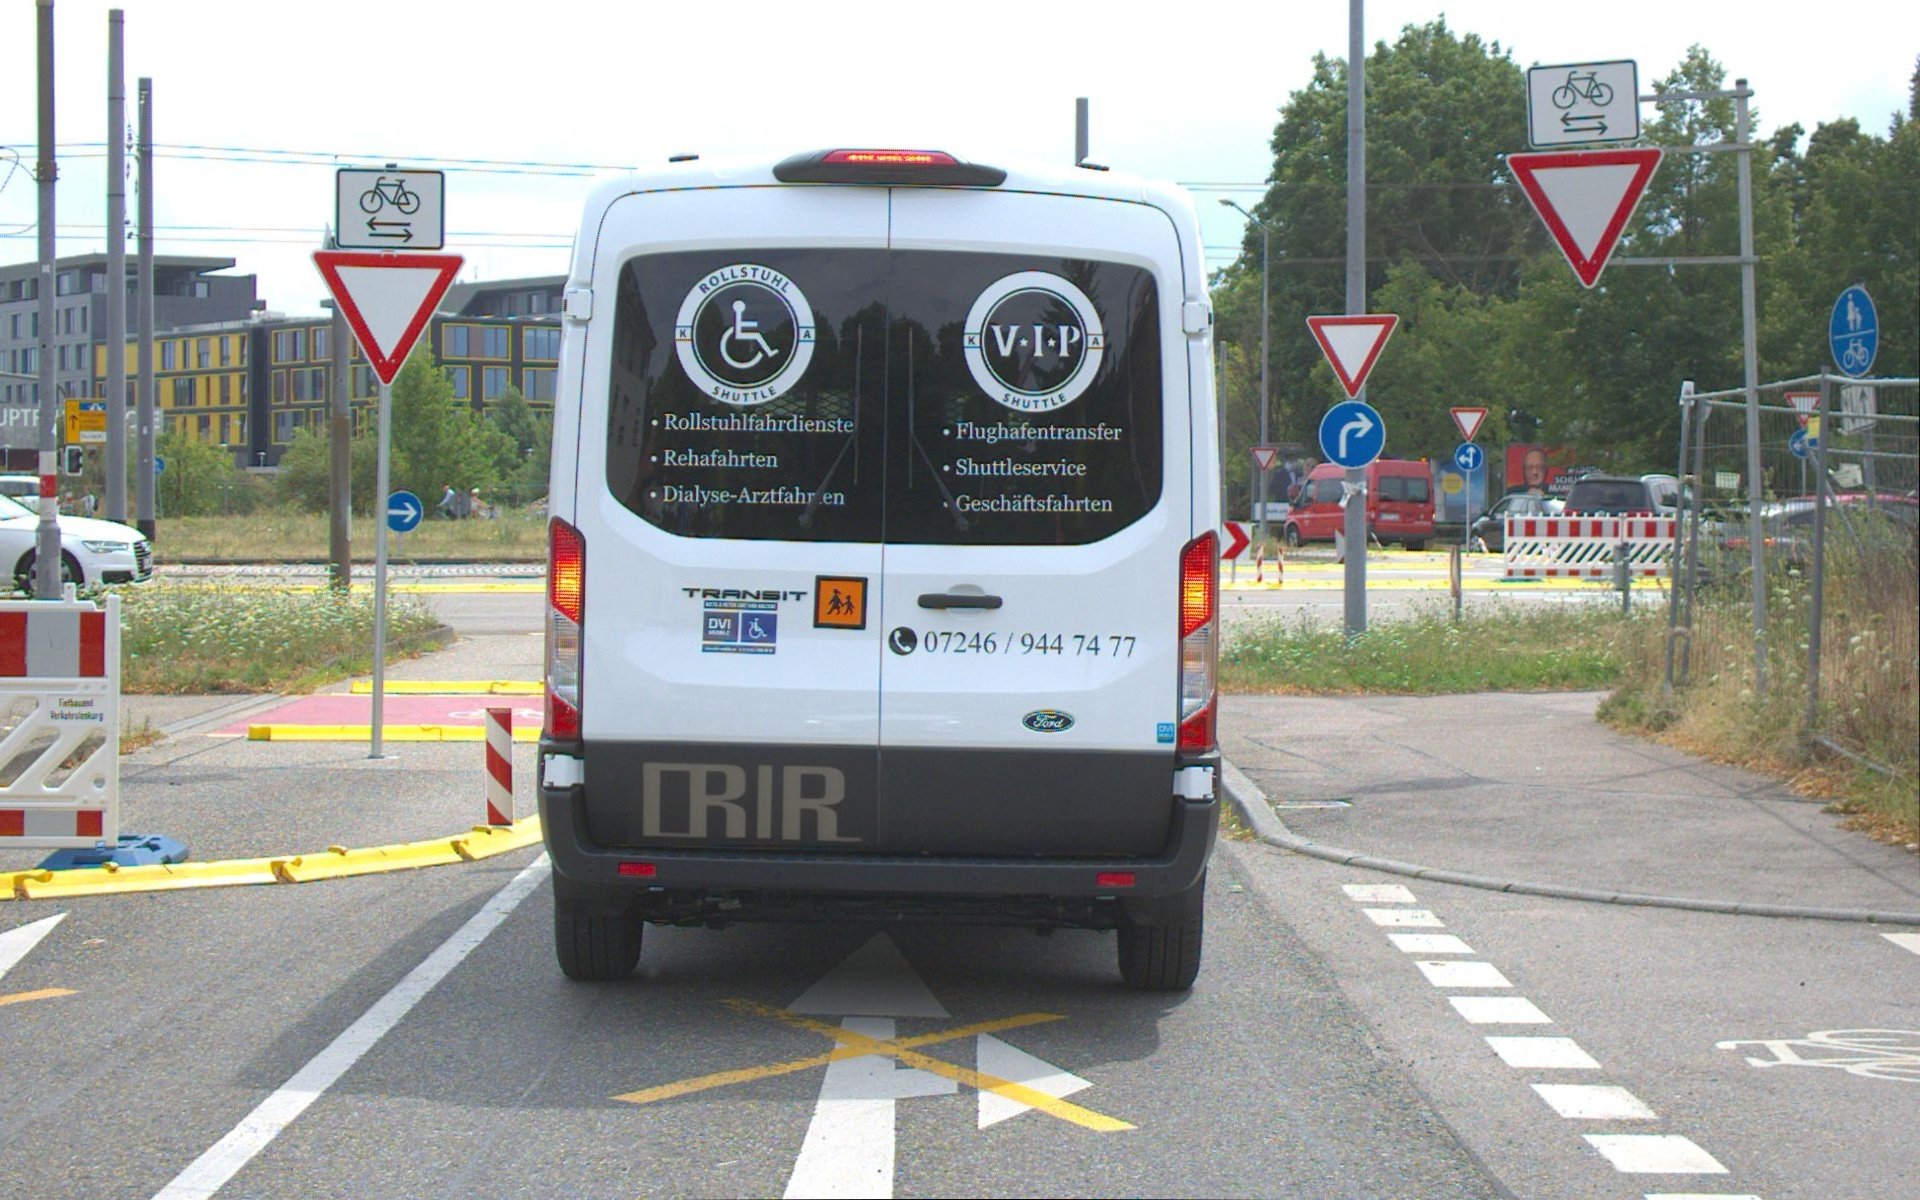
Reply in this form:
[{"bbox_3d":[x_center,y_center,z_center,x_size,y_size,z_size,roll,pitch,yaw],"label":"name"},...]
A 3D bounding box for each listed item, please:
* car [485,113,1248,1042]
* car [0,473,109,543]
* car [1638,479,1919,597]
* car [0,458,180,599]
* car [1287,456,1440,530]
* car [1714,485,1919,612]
[{"bbox_3d":[-0.253,-0.115,11.538,2.063,2.531,4.000,1,2,0],"label":"car"},{"bbox_3d":[-25.078,-2.462,92.179,3.988,1.765,1.768,-3,3,-35],"label":"car"},{"bbox_3d":[10.868,-0.813,43.512,4.341,1.349,1.623,-2,3,-25],"label":"car"},{"bbox_3d":[-11.716,-0.858,39.651,5.027,1.573,1.865,1,2,-1],"label":"car"},{"bbox_3d":[10.355,-2.762,88.548,2.006,1.810,4.413,-2,3,-22],"label":"car"},{"bbox_3d":[12.955,-0.765,48.847,3.986,1.656,1.891,-2,2,-21],"label":"car"}]
